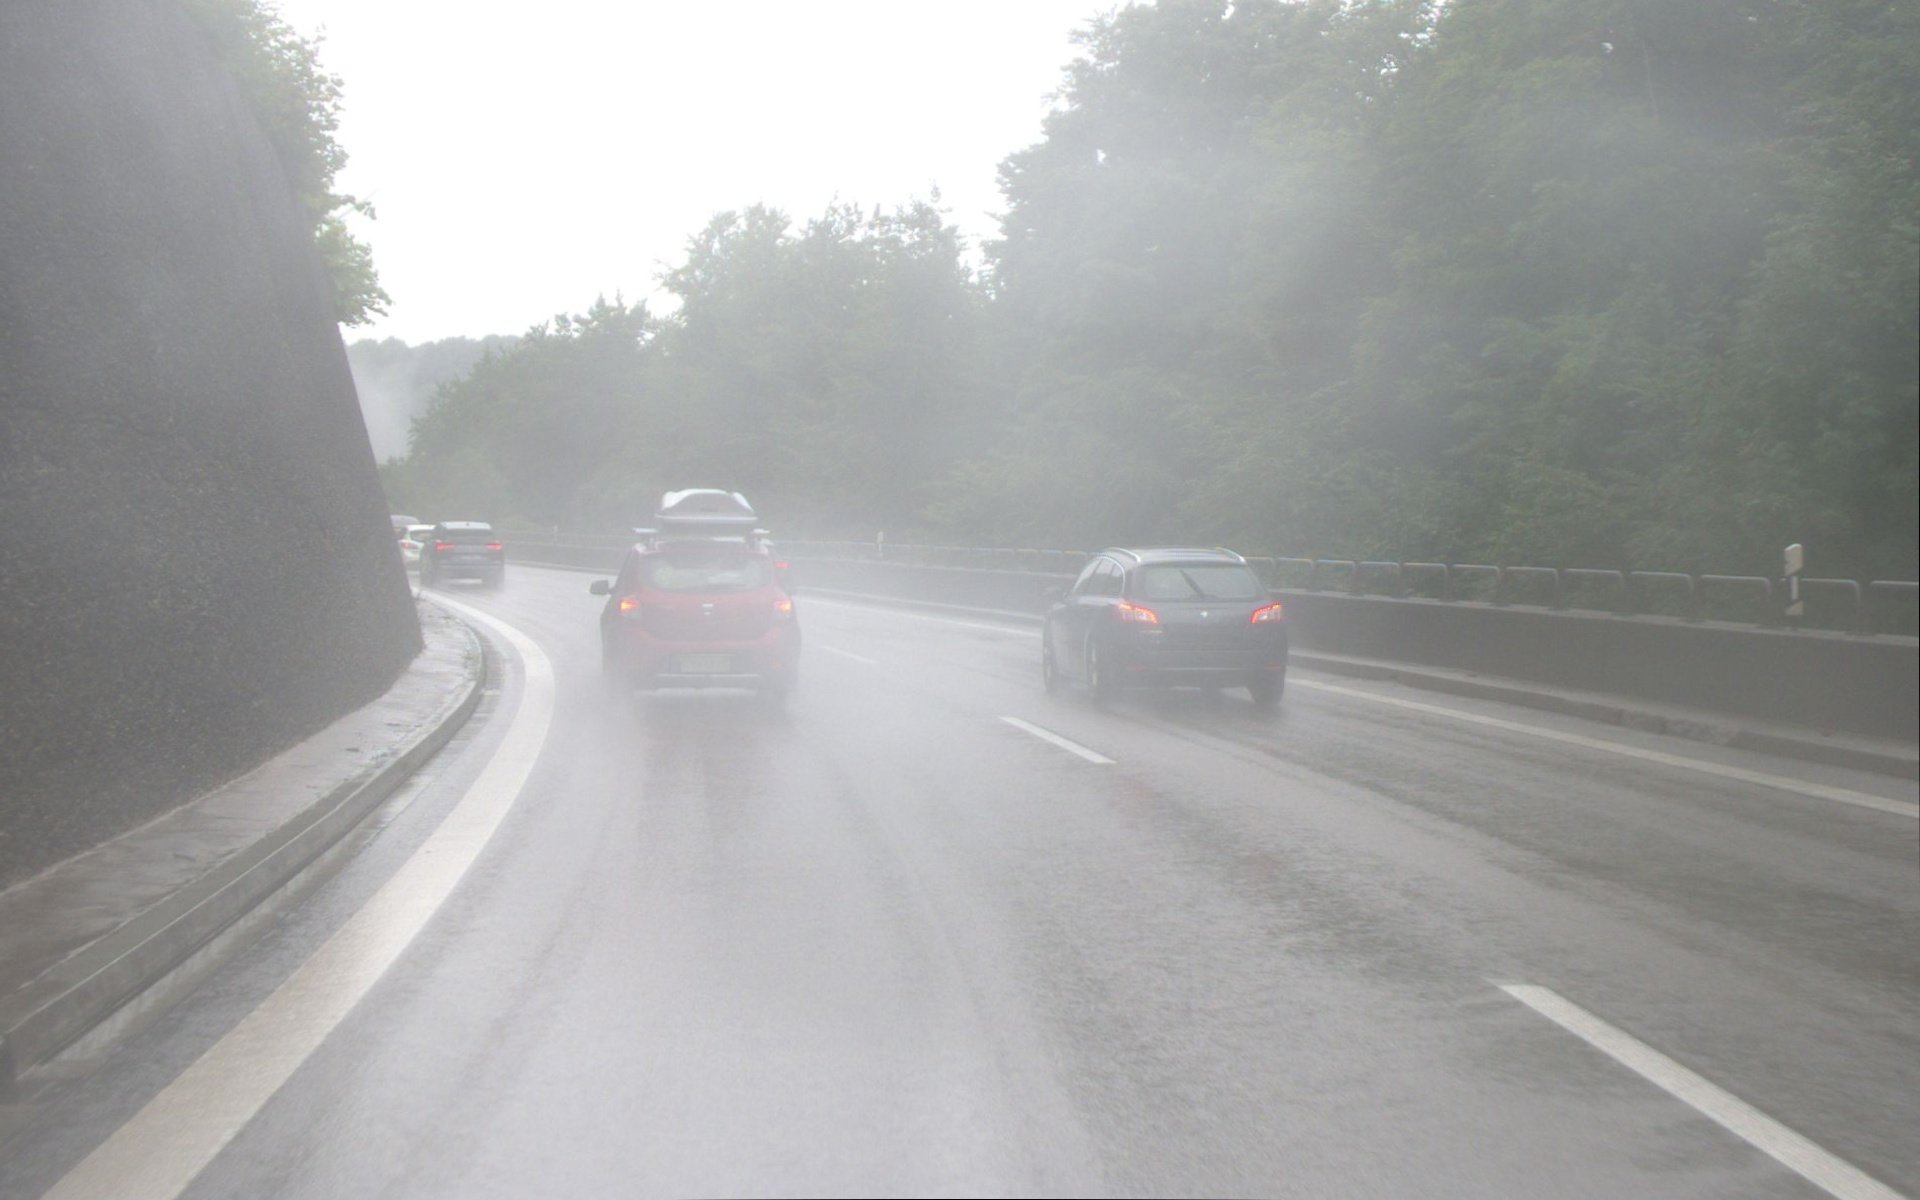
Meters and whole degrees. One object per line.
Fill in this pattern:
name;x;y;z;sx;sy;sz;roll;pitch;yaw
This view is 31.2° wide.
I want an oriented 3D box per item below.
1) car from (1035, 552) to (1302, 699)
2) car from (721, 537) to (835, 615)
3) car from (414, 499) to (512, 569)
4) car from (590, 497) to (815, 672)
car;1.913;0.211;32.739;1.800;1.303;4.001;1;0;-7
car;-3.830;-0.521;71.803;1.993;1.546;4.001;1;1;-8
car;-12.575;-1.649;86.789;1.993;1.678;4.001;1;0;-14
car;-2.495;-0.161;32.761;1.993;1.547;4.001;1;1;-6
